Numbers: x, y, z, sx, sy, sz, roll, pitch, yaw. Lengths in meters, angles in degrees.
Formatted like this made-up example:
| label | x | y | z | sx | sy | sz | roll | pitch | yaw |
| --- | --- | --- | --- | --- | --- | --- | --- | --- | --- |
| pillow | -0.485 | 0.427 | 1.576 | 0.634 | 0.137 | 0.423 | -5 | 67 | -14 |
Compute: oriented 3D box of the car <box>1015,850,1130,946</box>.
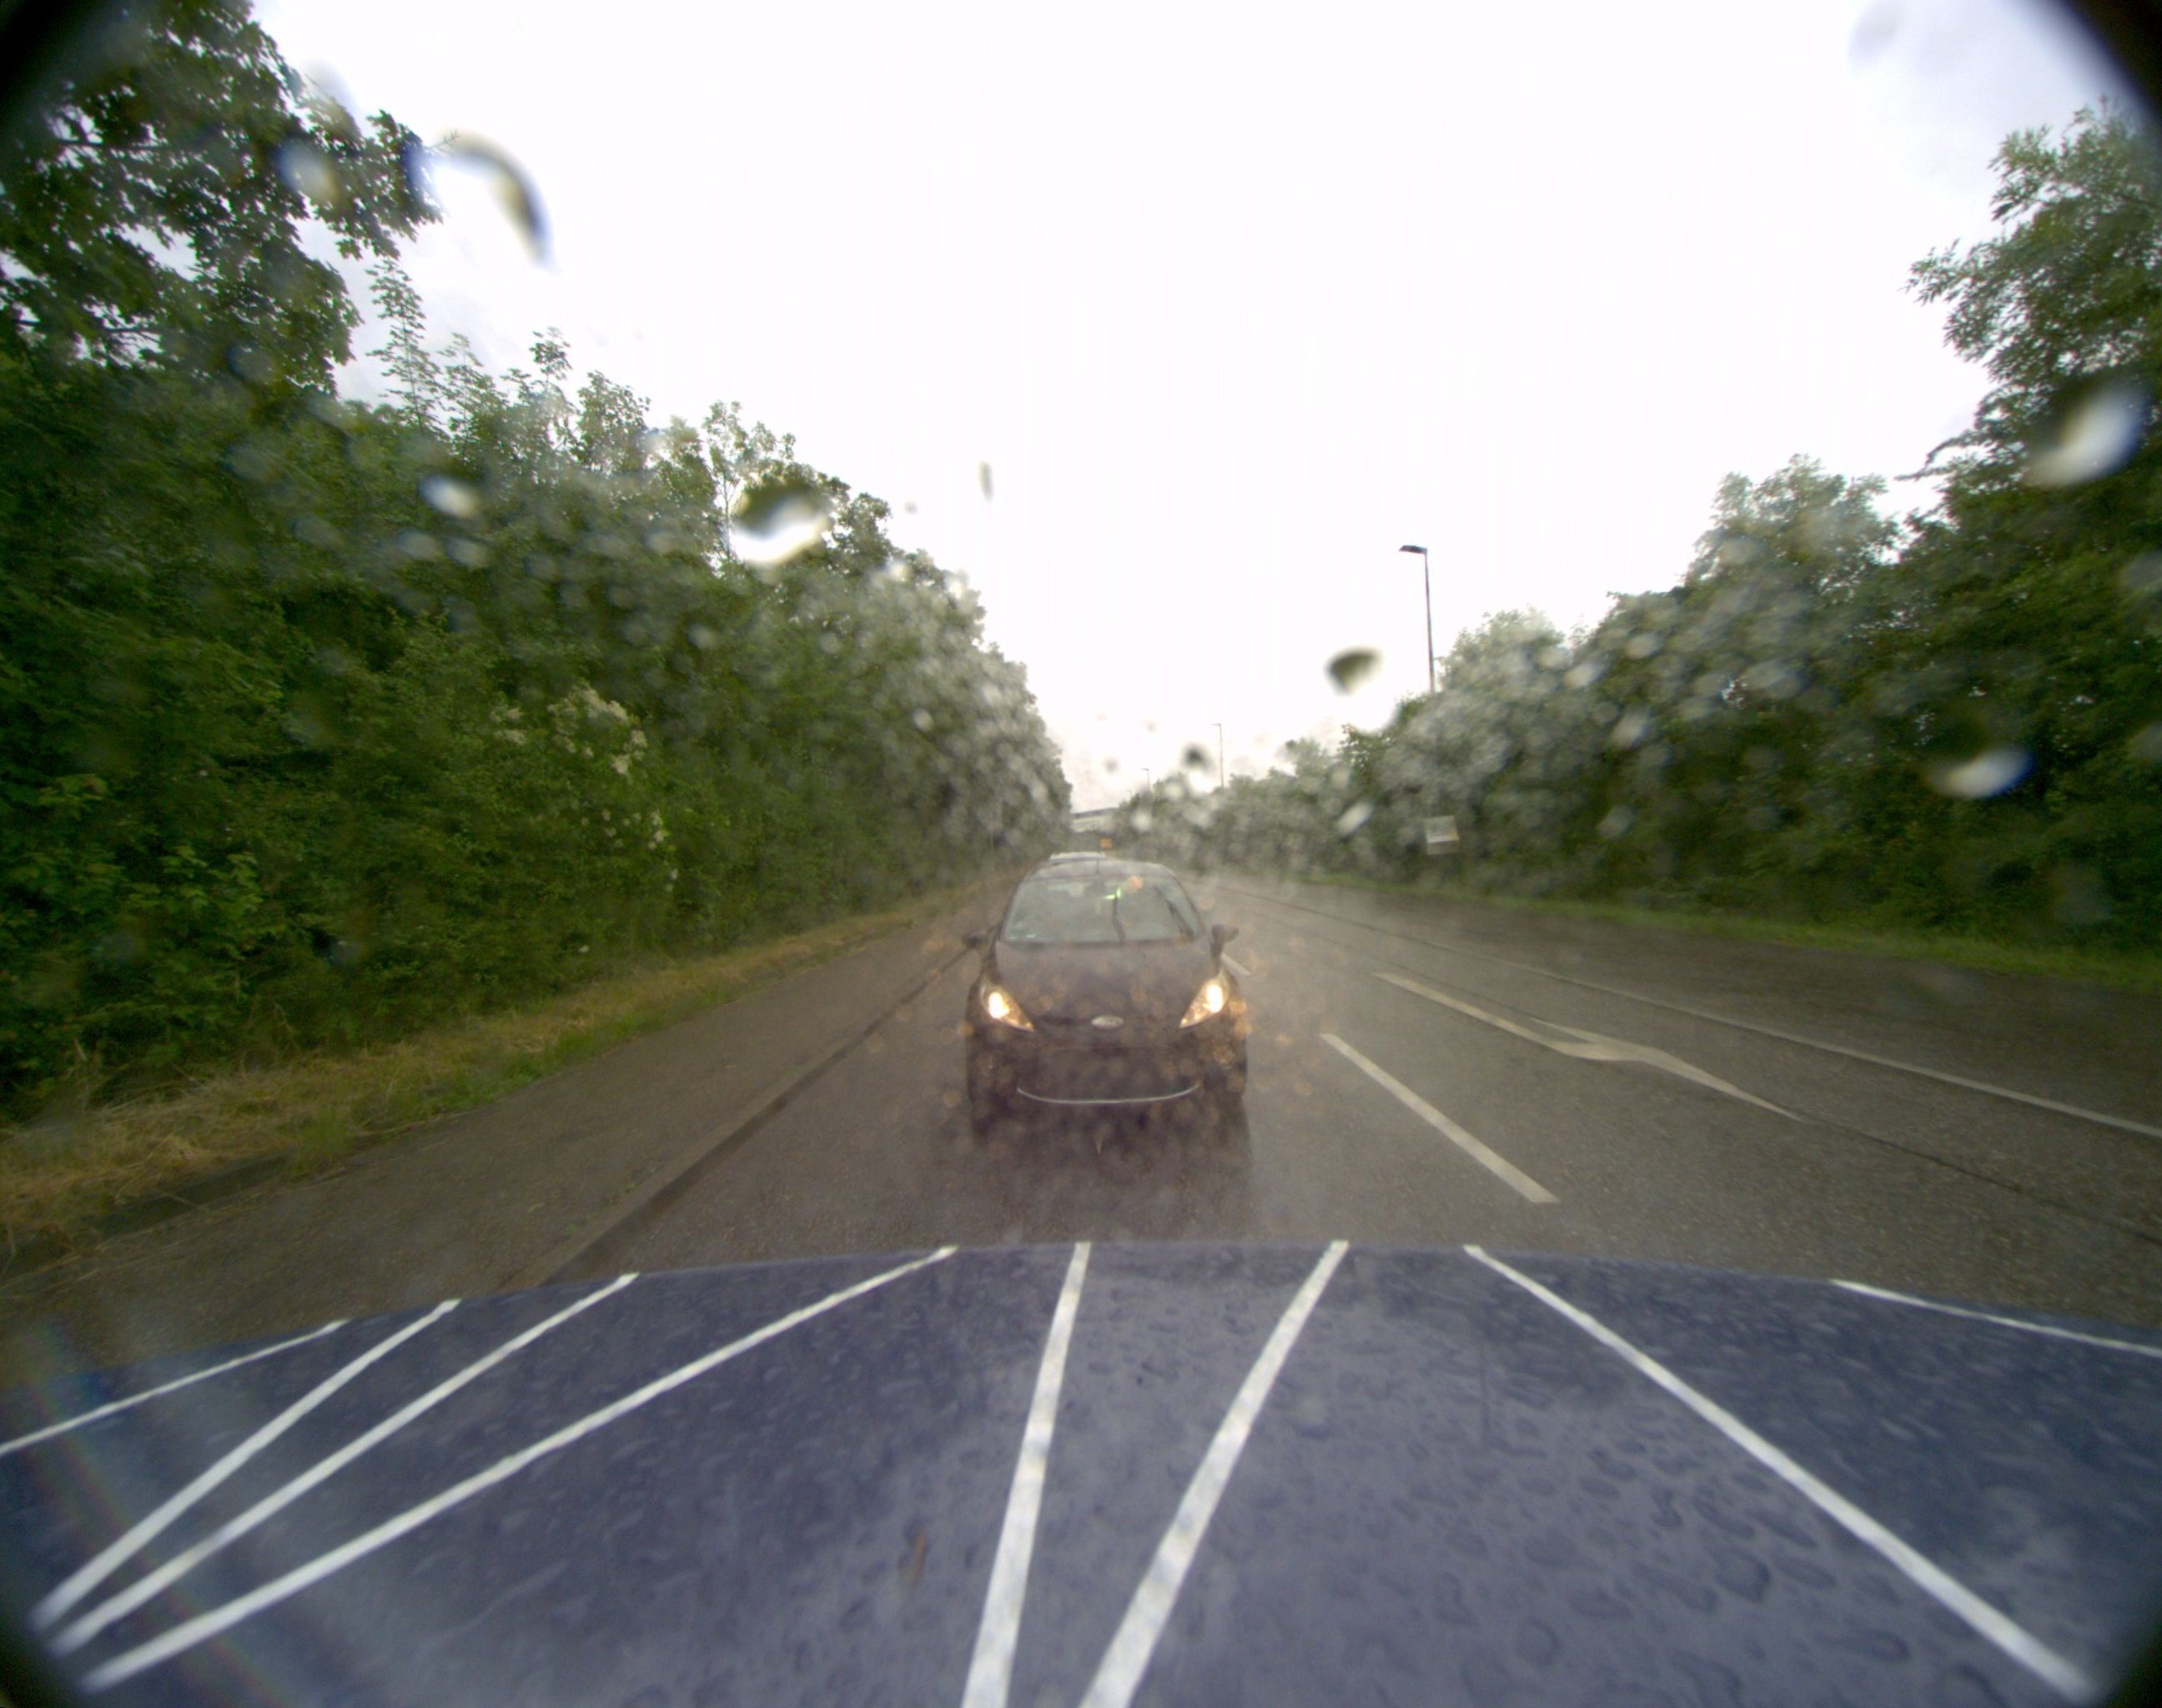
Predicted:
| label | x | y | z | sx | sy | sz | roll | pitch | yaw |
| --- | --- | --- | --- | --- | --- | --- | --- | --- | --- |
| car | -0.123 | 0.773 | 15.489 | 1.998 | 1.576 | 3.999 | -2 | 1 | 1 |

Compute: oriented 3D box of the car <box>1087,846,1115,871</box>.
| label | x | y | z | sx | sy | sz | roll | pitch | yaw |
| --- | --- | --- | --- | --- | --- | --- | --- | --- | --- |
| car | 1.461 | 0.337 | 57.241 | 1.998 | 1.777 | 4.000 | -2 | 0 | 0 |

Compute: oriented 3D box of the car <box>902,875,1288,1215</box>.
| label | x | y | z | sx | sy | sz | roll | pitch | yaw |
| --- | --- | --- | --- | --- | --- | --- | --- | --- | --- |
| car | 0.095 | 0.997 | 5.871 | 1.839 | 1.404 | 4.342 | -2 | 1 | 1 |
